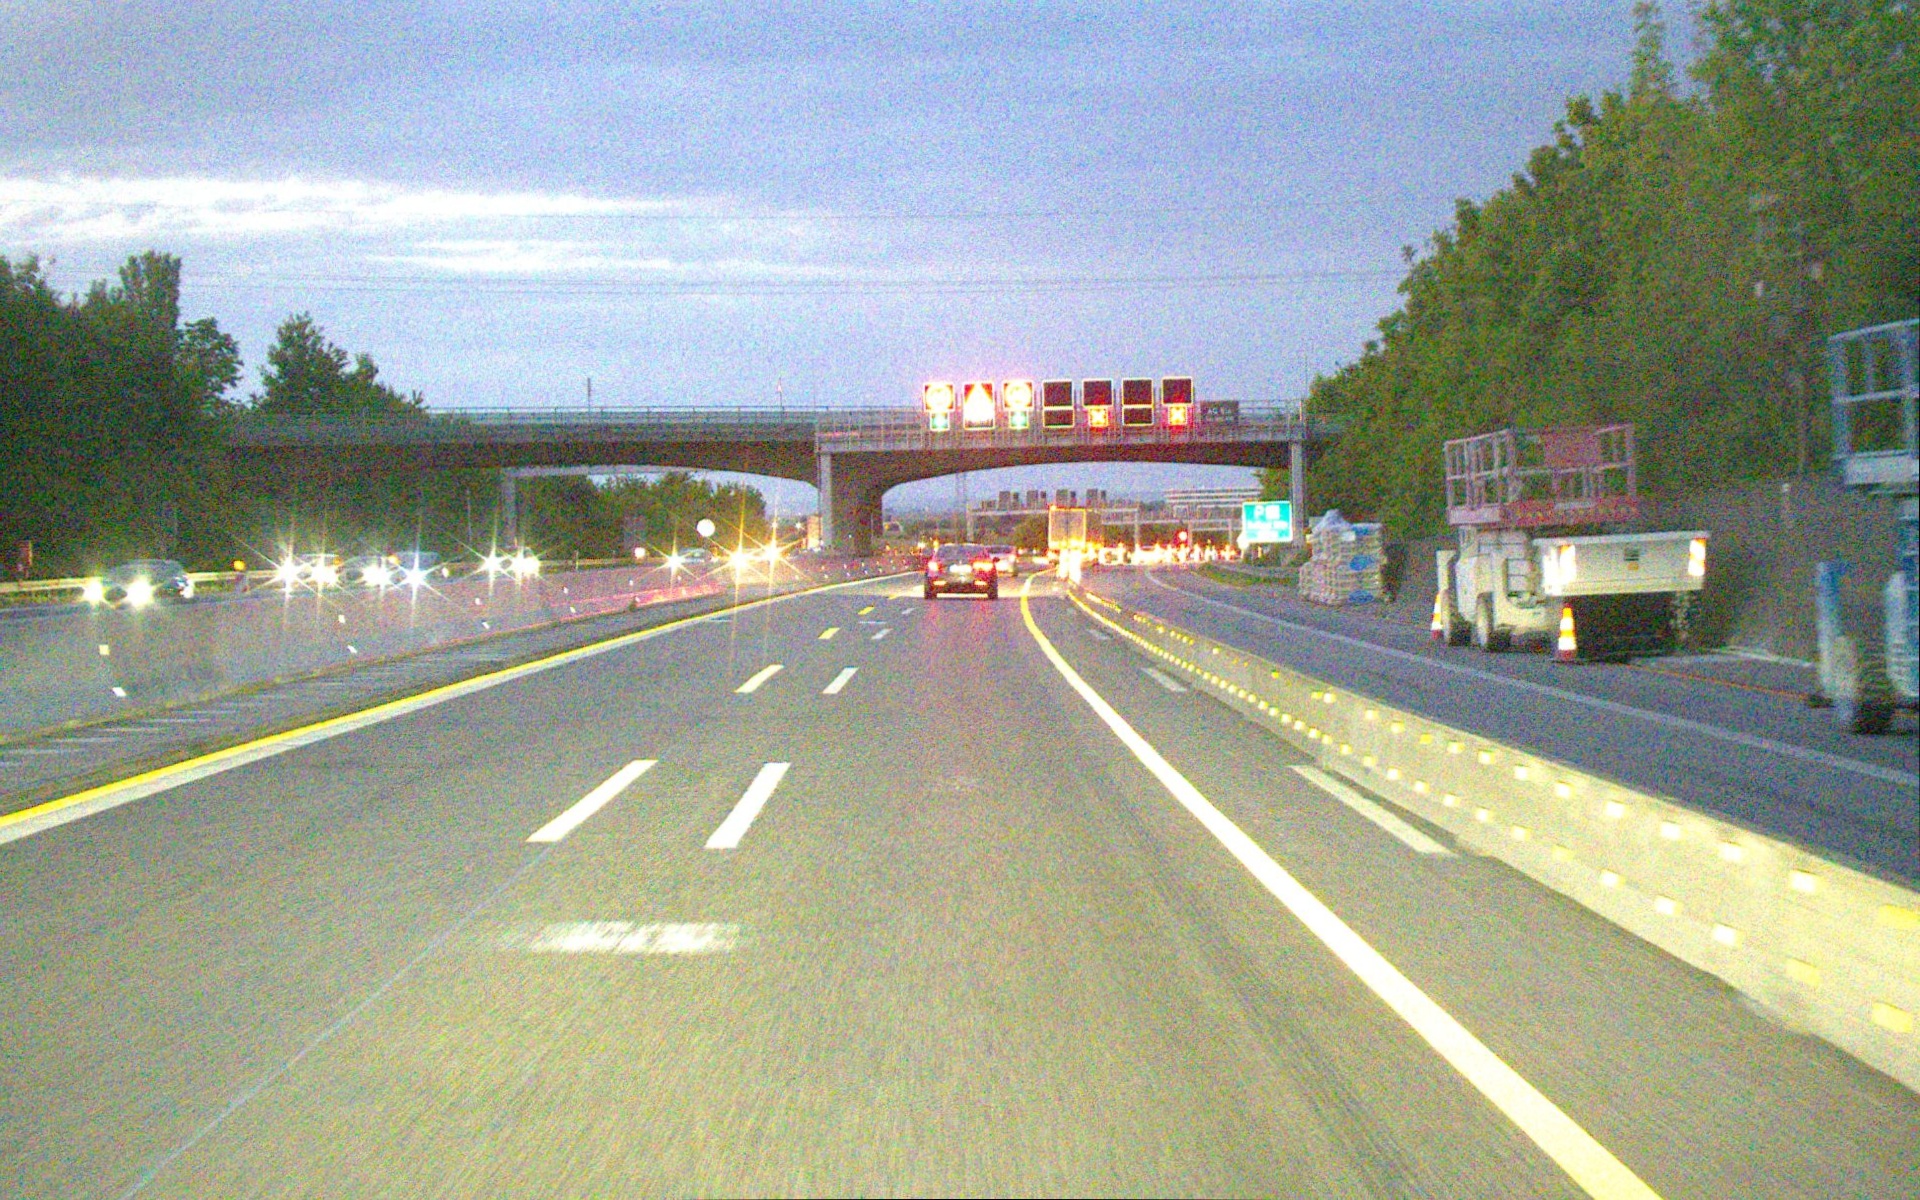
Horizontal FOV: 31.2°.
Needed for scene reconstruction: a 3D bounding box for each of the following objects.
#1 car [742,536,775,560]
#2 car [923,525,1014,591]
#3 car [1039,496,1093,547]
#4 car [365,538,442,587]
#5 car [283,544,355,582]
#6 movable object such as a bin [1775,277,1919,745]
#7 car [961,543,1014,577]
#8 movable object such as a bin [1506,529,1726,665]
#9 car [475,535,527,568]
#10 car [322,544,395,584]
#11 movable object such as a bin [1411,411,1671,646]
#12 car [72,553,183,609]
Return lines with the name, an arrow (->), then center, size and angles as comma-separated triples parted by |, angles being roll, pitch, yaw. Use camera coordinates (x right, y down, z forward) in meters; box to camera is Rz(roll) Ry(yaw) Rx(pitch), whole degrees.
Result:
car -> -13.848, -3.541, 236.485 | 1.591, 1.598, 5.033 | 1, 1, 4
car -> 0.196, -1.077, 88.214 | 2.265, 1.616, 4.000 | 1, 1, -1
car -> 7.361, -5.456, 239.472 | 3.605, 3.384, 8.014 | 1, 1, 1
car -> -20.580, -1.405, 127.345 | 1.901, 1.732, 4.808 | 1, 1, 2
car -> -25.624, -1.478, 137.553 | 1.825, 1.480, 4.701 | 1, 1, 2
movable object such as a bin -> 8.067, -0.664, 25.623 | 2.564, 3.306, 5.579 | -1, 1, -1
car -> 1.209, -1.735, 149.164 | 1.972, 1.432, 3.999 | 1, 1, 5
movable object such as a bin -> 8.250, -0.049, 43.591 | 1.993, 1.596, 4.084 | -1, 0, 0
car -> -23.377, -2.469, 175.200 | 1.804, 1.632, 4.751 | 1, 1, 2
car -> -23.085, -1.393, 131.994 | 1.810, 1.480, 4.701 | 1, 1, 2
movable object such as a bin -> 8.094, -0.981, 48.541 | 2.620, 3.097, 5.806 | 0, 1, -1
car -> -22.499, -0.532, 93.075 | 1.750, 1.449, 4.670 | 1, 1, 2
